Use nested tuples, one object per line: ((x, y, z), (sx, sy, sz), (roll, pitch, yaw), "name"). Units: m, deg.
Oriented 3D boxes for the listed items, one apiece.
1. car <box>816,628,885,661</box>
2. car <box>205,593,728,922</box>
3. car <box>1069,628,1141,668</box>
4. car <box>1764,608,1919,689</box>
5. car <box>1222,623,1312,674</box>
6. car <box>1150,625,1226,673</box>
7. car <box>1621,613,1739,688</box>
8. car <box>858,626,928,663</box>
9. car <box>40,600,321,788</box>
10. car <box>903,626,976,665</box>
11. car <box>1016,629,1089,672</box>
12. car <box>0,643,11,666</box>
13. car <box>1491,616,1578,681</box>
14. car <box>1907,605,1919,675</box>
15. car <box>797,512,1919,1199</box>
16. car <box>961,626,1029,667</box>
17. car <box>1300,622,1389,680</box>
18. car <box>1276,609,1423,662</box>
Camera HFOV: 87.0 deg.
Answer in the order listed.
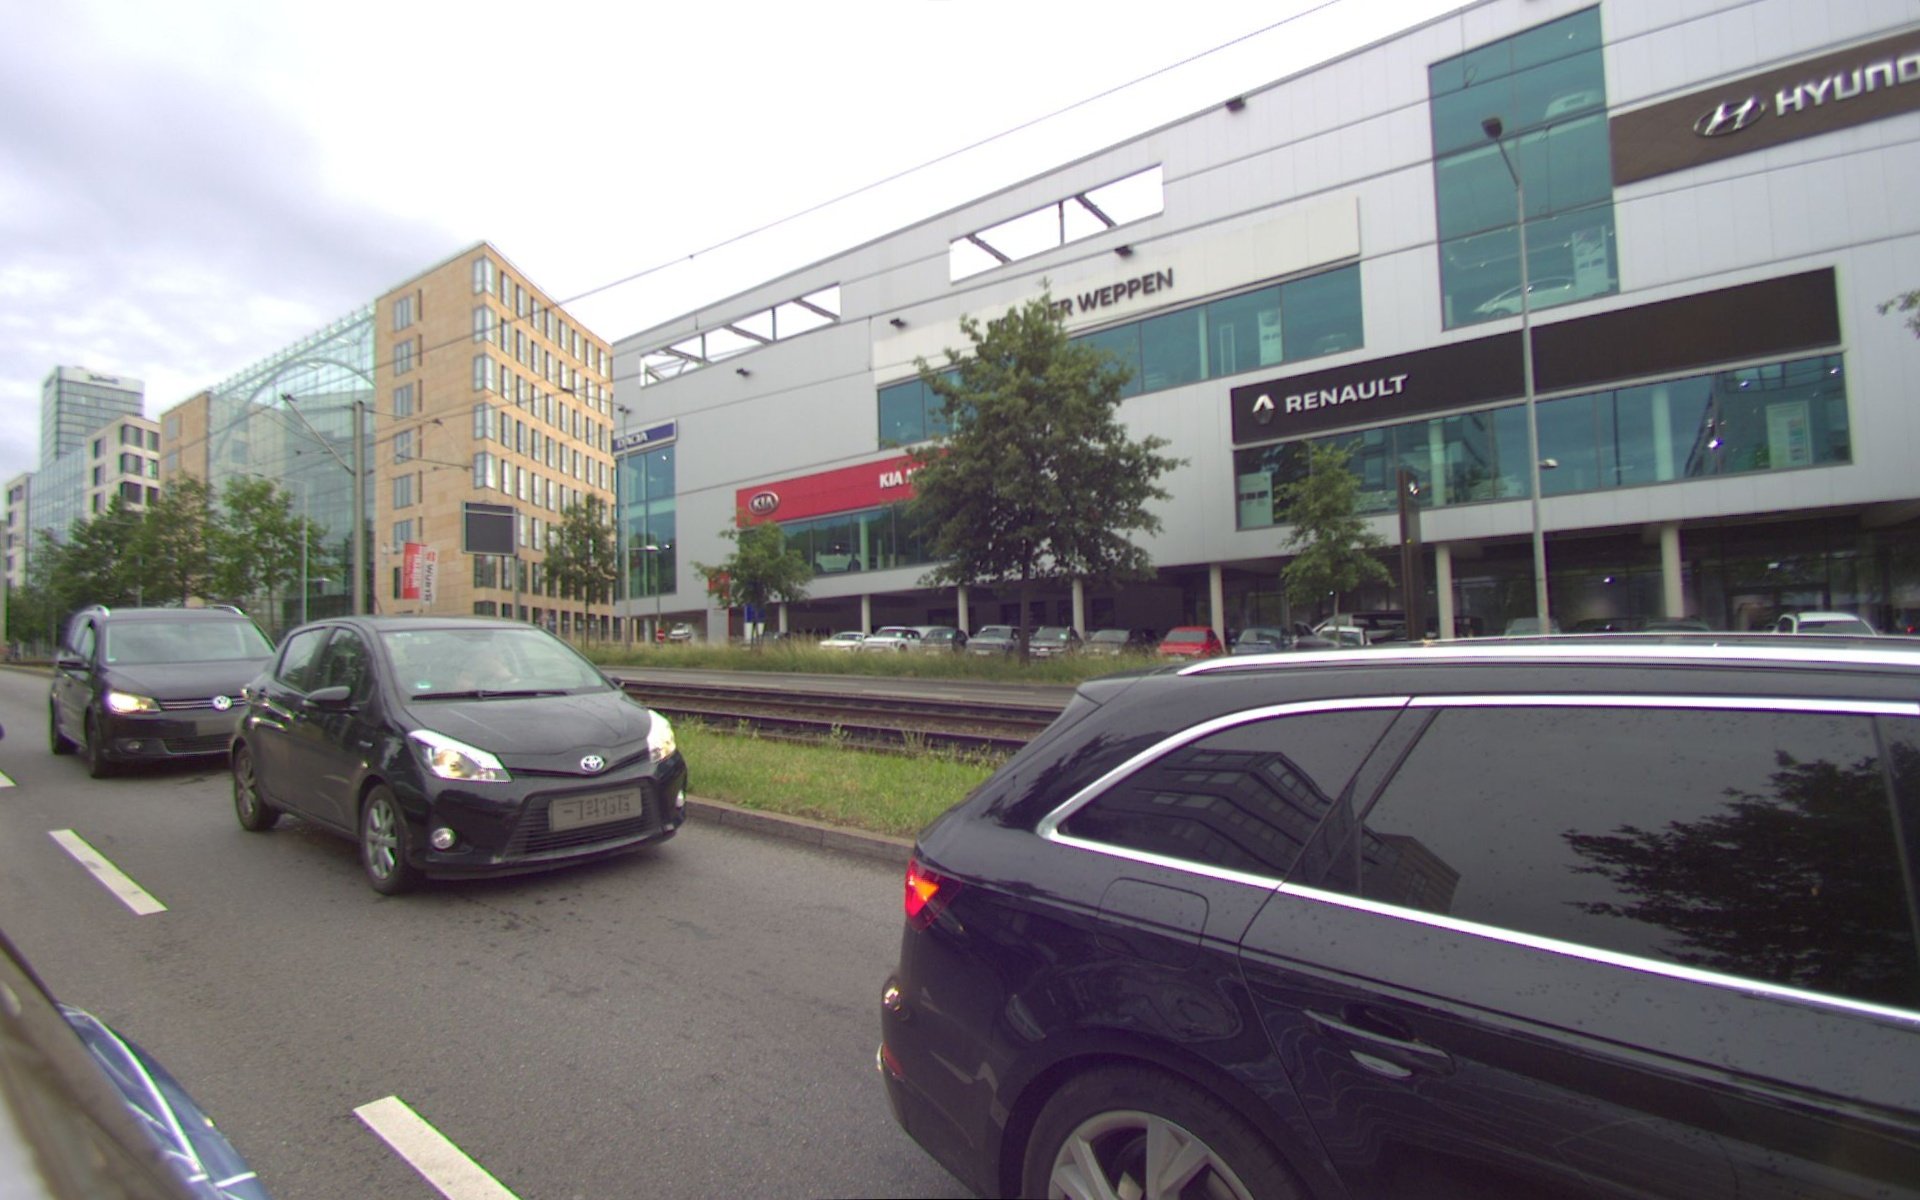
((-4.773, 1.947, 44.638), (1.685, 1.196, 3.643), (-2, 1, 18), "car")
((-3.384, 0.781, 6.639), (3.823, 1.544, 1.683), (-1, -1, 40), "car")
((5.257, 1.694, 36.322), (1.689, 1.190, 3.498), (-2, 1, 24), "car")
((20.605, 1.057, 23.806), (1.992, 1.562, 4.331), (-1, 1, 30), "car")
((10.086, 1.549, 33.040), (1.914, 1.362, 4.005), (-1, 1, 30), "car")
((7.823, 1.623, 34.444), (1.789, 1.362, 3.903), (-2, 1, 24), "car")
((18.066, 1.204, 25.582), (1.992, 1.562, 4.331), (-1, 1, 30), "car")
((-2.783, 1.877, 42.962), (1.685, 1.304, 3.643), (-2, 1, 18), "car")
((-8.472, 0.854, 10.848), (4.318, 1.619, 1.762), (-2, -1, 44), "car")
((-0.776, 1.821, 41.031), (1.688, 1.362, 3.499), (-2, 1, 23), "car")
((3.509, 1.846, 37.782), (1.689, 1.362, 3.498), (-2, 1, 24), "car")
((-73.721, 4.092, 76.576), (4.833, 1.733, 1.974), (-2, -4, 38), "car")
((15.867, 1.280, 27.969), (1.925, 1.470, 3.981), (-1, 1, 30), "car")
((22.848, 0.979, 22.256), (1.992, 1.627, 4.331), (-1, 1, 30), "car")
((1.901, 0.640, 1.498), (4.511, 1.478, 1.762), (-2, -2, 41), "car")
((1.410, 1.801, 39.704), (1.686, 1.362, 3.503), (-2, 1, 20), "car")
((11.960, 1.524, 31.344), (1.914, 1.470, 4.005), (-1, 1, 30), "car")
((13.968, 1.262, 36.496), (4.488, 1.796, 1.997), (-1, -1, 5), "car")
